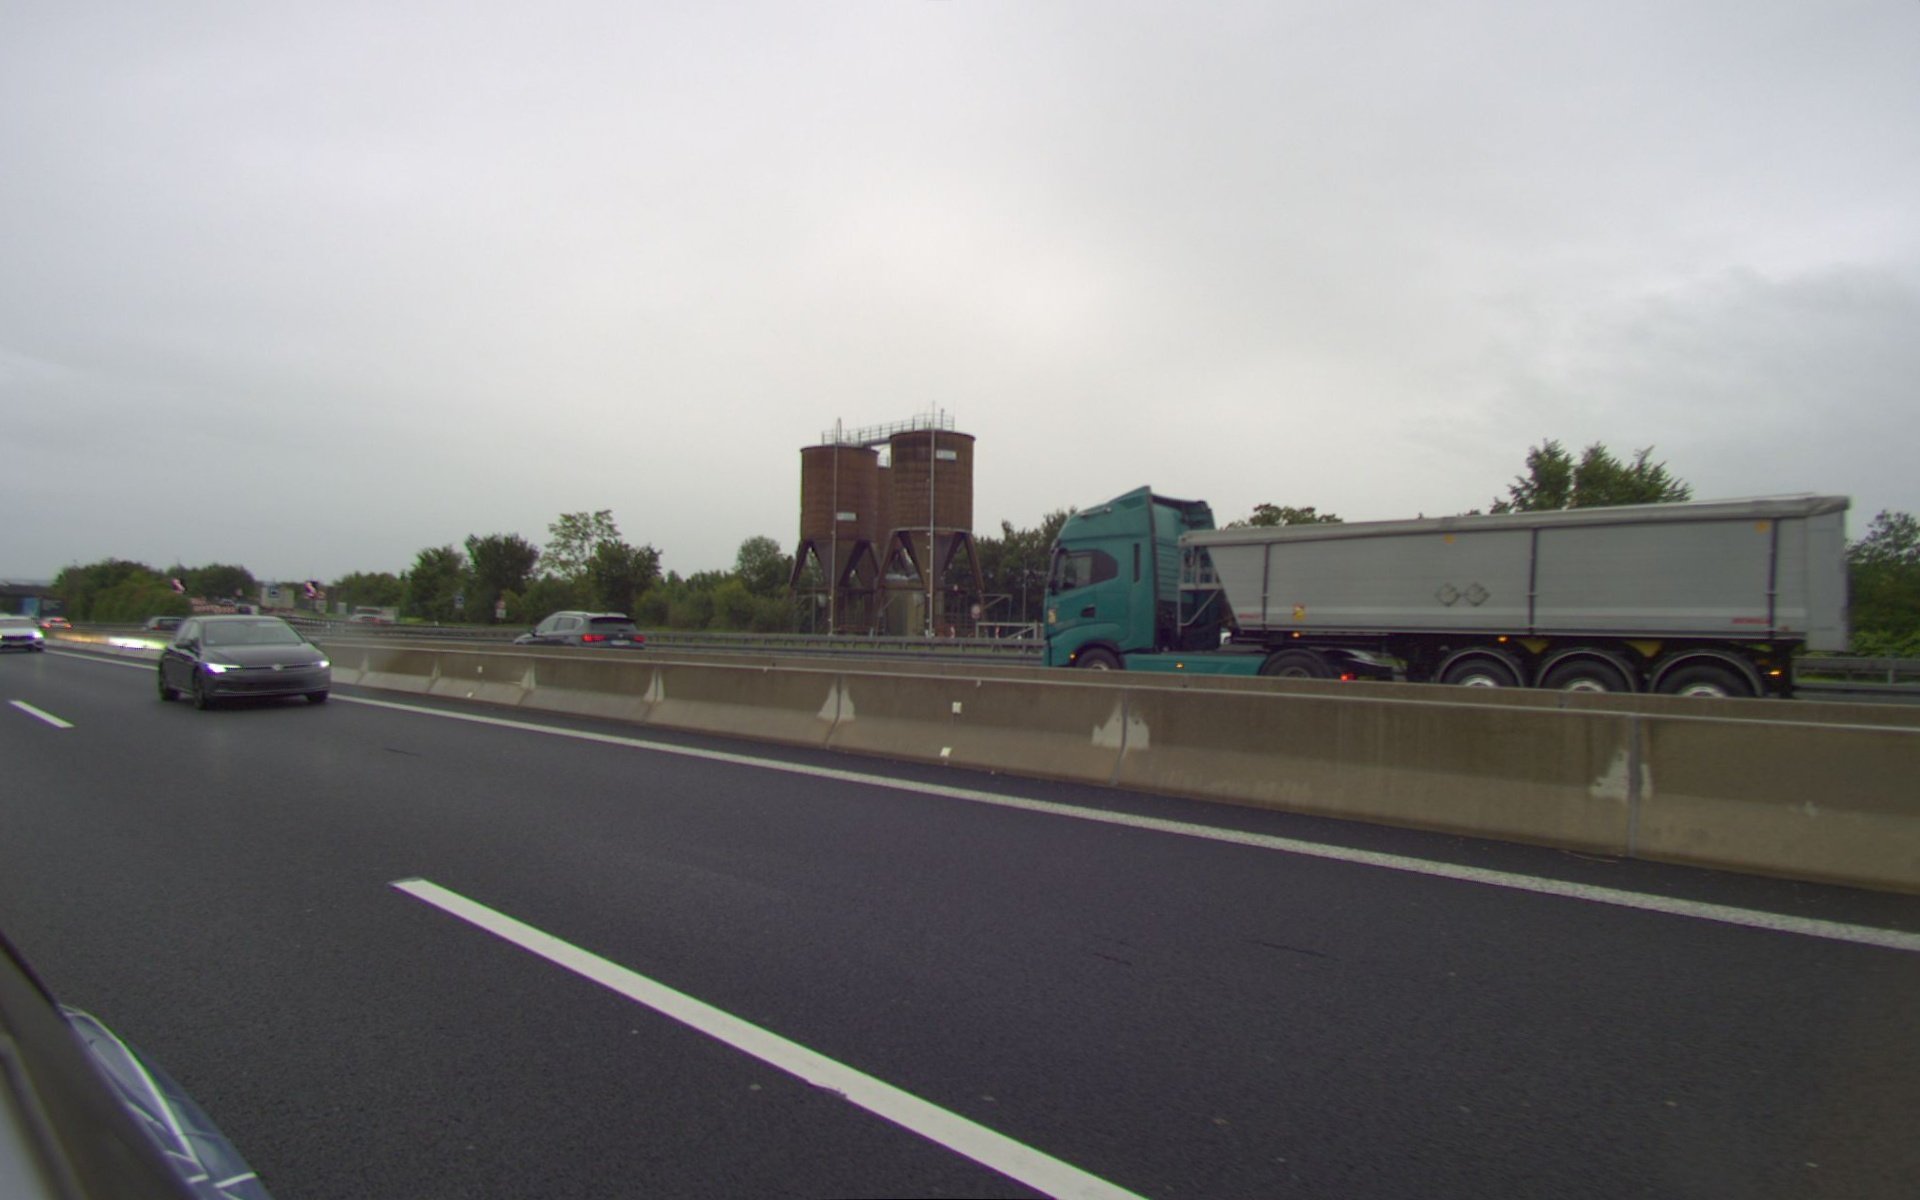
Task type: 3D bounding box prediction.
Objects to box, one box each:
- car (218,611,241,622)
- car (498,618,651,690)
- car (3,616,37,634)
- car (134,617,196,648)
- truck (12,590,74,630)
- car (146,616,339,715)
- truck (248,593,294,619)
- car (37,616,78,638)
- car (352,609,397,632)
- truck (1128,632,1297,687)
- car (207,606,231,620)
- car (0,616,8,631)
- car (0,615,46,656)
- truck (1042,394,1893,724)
[{"bbox_3d":[-90.551,2.070,125.419,3.544,1.320,1.598,-1,0,43],"label":"car"},{"bbox_3d":[-9.581,1.281,25.046,3.996,1.644,1.762,-1,-2,39],"label":"car"},{"bbox_3d":[-90.791,2.396,97.714,3.996,1.671,1.887,-1,-1,40],"label":"car"},{"bbox_3d":[-44.720,1.804,56.920,3.996,1.671,1.974,-1,-1,40],"label":"car"},{"bbox_3d":[-109.293,1.237,120.503,12.881,4.511,3.739,-1,-1,40],"label":"truck"},{"bbox_3d":[-12.209,1.016,17.108,4.367,1.436,1.810,-1,-1,43],"label":"car"},{"bbox_3d":[-89.039,0.772,130.747,7.602,3.241,3.211,-1,-1,42],"label":"truck"},{"bbox_3d":[-72.597,2.161,81.425,3.996,1.671,1.887,-1,-1,40],"label":"car"},{"bbox_3d":[-53.040,1.907,91.685,4.547,2.029,2.049,-1,-2,40],"label":"car"},{"bbox_3d":[8.709,2.017,35.233,5.401,1.657,1.973,-1,0,40],"label":"truck"},{"bbox_3d":[-113.528,2.004,154.986,3.995,2.029,1.974,-1,0,38],"label":"car"},{"bbox_3d":[-108.426,2.621,113.486,3.996,1.671,1.887,-1,-1,40],"label":"car"},{"bbox_3d":[-38.873,1.407,41.228,4.815,1.603,1.972,-1,-1,42],"label":"car"},{"bbox_3d":[7.017,-0.386,16.527,11.903,3.738,2.938,-1,0,41],"label":"truck"}]
